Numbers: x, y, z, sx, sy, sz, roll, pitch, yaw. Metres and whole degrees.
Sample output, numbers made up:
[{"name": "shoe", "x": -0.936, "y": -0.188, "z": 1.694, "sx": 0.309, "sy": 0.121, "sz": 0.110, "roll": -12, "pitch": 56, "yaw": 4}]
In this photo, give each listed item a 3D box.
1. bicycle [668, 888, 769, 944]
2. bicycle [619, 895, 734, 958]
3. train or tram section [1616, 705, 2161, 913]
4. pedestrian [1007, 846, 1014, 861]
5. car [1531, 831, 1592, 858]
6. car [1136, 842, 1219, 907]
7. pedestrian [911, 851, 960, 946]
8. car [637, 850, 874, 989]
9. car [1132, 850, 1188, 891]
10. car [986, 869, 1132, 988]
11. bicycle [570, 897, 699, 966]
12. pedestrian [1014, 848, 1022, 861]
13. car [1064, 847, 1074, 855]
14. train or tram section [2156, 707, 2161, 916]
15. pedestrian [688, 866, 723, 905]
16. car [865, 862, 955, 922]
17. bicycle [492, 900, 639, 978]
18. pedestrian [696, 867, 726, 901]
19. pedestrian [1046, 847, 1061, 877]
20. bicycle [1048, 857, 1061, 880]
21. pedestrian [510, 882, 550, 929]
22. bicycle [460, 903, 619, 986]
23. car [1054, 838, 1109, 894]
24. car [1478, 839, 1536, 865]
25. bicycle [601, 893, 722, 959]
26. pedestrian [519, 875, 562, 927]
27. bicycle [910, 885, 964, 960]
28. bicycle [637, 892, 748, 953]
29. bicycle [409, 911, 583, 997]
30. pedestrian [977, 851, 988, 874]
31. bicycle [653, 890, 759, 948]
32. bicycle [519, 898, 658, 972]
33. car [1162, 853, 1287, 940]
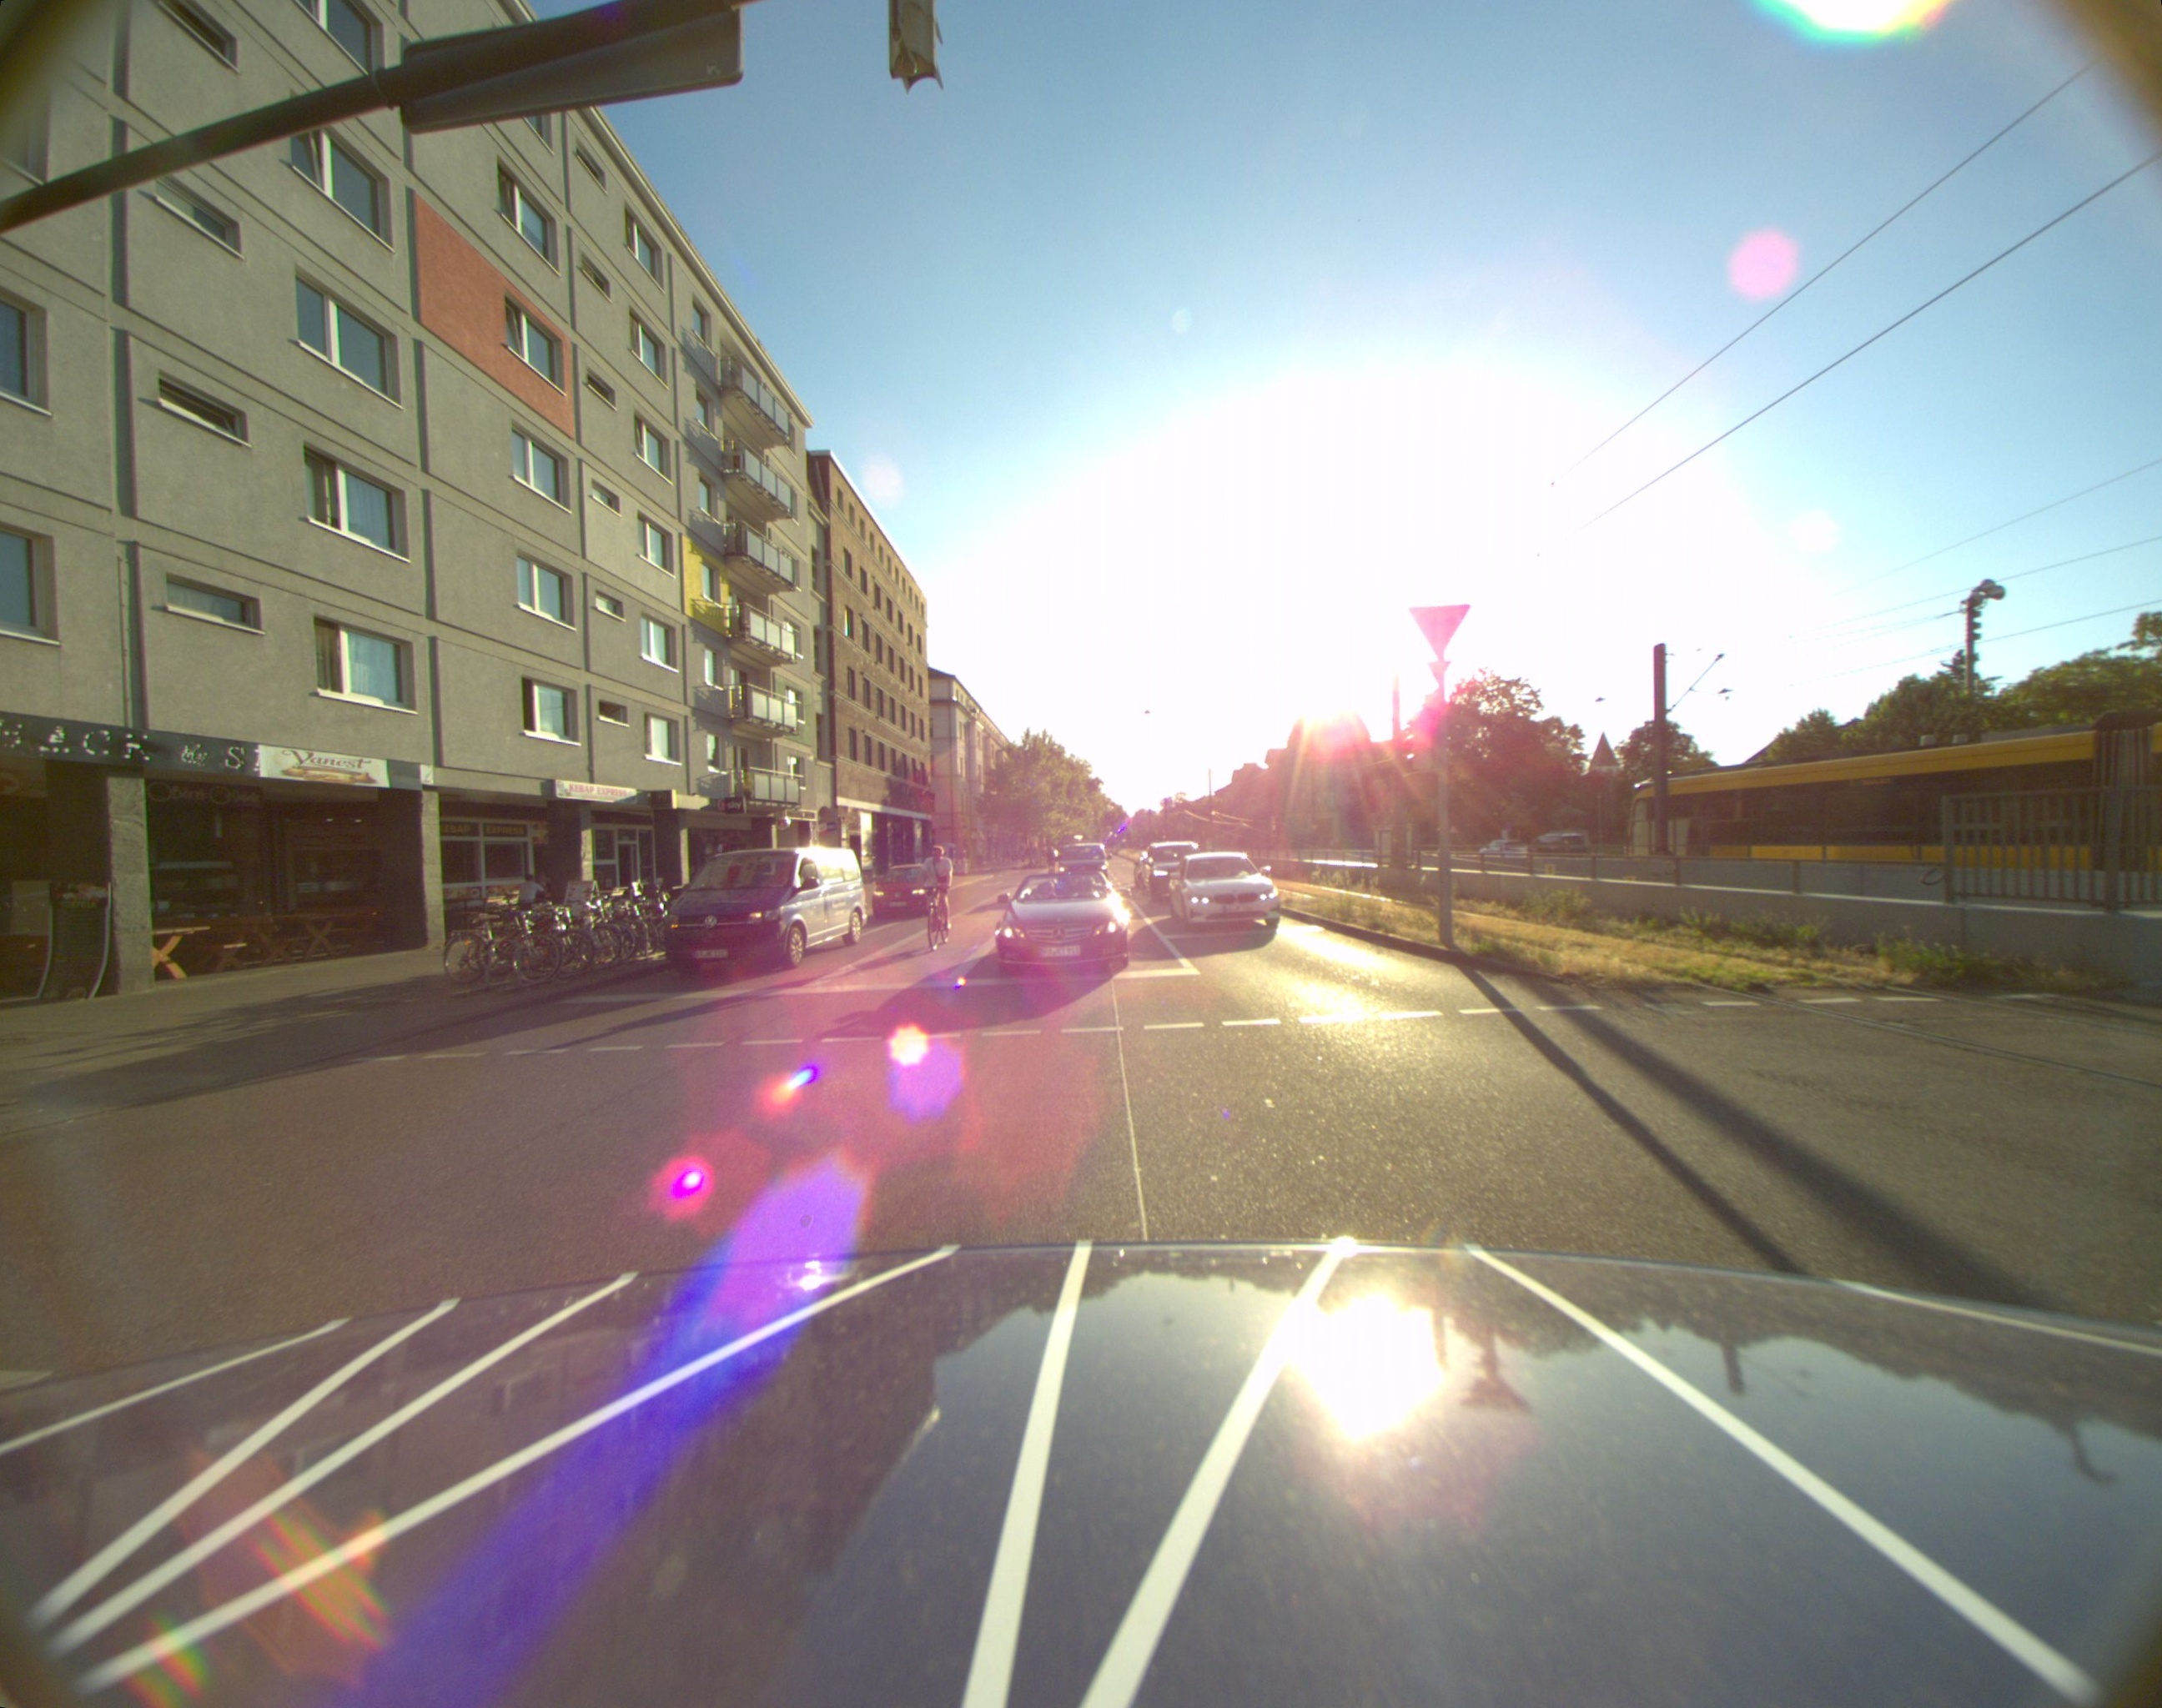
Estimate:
[{"name": "bicycle", "x": -7.681, "y": 1.302, "z": 16.142, "sx": 1.873, "sy": 1.119, "sz": 0.568, "roll": 1, "pitch": 1, "yaw": -2}, {"name": "bicycle", "x": -7.655, "y": 1.360, "z": 14.425, "sx": 1.873, "sy": 1.119, "sz": 0.568, "roll": 1, "pitch": 1, "yaw": -2}, {"name": "train or tram section", "x": 19.702, "y": -0.889, "z": 19.485, "sx": 2.780, "sy": 3.516, "sz": 13.250, "roll": -2, "pitch": 1, "yaw": 1}, {"name": "pedestrian", "x": -8.020, "y": -0.103, "z": 86.537, "sx": 0.728, "sy": 1.666, "sz": 0.924, "roll": -2, "pitch": 1, "yaw": 0}, {"name": "car", "x": 32.652, "y": -0.638, "z": 51.775, "sx": 1.714, "sy": 1.685, "sz": 4.090, "roll": -2, "pitch": 1, "yaw": 2}, {"name": "car", "x": 2.943, "y": 0.553, "z": 24.124, "sx": 1.956, "sy": 1.702, "sz": 4.850, "roll": -4, "pitch": 1, "yaw": 1}, {"name": "pedestrian", "x": -2.625, "y": 0.783, "z": 13.790, "sx": 0.640, "sy": 1.639, "sz": 0.843, "roll": -3, "pitch": 1, "yaw": 1}, {"name": "car", "x": -5.357, "y": 0.934, "z": 13.388, "sx": 1.941, "sy": 1.922, "sz": 4.832, "roll": -2, "pitch": 1, "yaw": 1}, {"name": "car", "x": 3.076, "y": 0.598, "z": 30.371, "sx": 1.815, "sy": 1.393, "sz": 3.919, "roll": -4, "pitch": 1, "yaw": 1}, {"name": "car", "x": -0.249, "y": 0.973, "z": 11.618, "sx": 1.776, "sy": 1.300, "sz": 4.240, "roll": -2, "pitch": 1, "yaw": 1}, {"name": "bicycle", "x": -7.708, "y": 1.335, "z": 13.167, "sx": 1.873, "sy": 1.119, "sz": 0.568, "roll": 1, "pitch": 1, "yaw": -2}, {"name": "pedestrian", "x": -7.175, "y": 0.031, "z": 86.173, "sx": 0.728, "sy": 1.431, "sz": 0.924, "roll": -2, "pitch": 1, "yaw": 0}, {"name": "car", "x": -2.274, "y": -0.549, "z": 149.075, "sx": 1.774, "sy": 1.474, "sz": 4.309, "roll": -2, "pitch": 1, "yaw": 2}, {"name": "train or tram section", "x": 19.462, "y": -0.655, "z": 6.211, "sx": 2.780, "sy": 3.516, "sz": 13.250, "roll": -2, "pitch": 1, "yaw": 1}, {"name": "pedestrian", "x": -13.277, "y": 1.109, "z": 26.871, "sx": 0.646, "sy": 1.287, "sz": 0.954, "roll": -2, "pitch": 1, "yaw": 4}, {"name": "car", "x": -5.000, "y": 1.064, "z": 22.660, "sx": 1.687, "sy": 1.472, "sz": 3.539, "roll": -3, "pitch": 1, "yaw": 2}, {"name": "bicycle", "x": -7.977, "y": 1.310, "z": 11.801, "sx": 1.873, "sy": 1.119, "sz": 0.568, "roll": 1, "pitch": 1, "yaw": -2}, {"name": "pedestrian", "x": -13.779, "y": 1.119, "z": 28.322, "sx": 0.727, "sy": 1.224, "sz": 0.647, "roll": -2, "pitch": 1, "yaw": 3}, {"name": "pedestrian", "x": -1.525, "y": 0.441, "z": 41.886, "sx": 0.678, "sy": 1.639, "sz": 0.901, "roll": -3, "pitch": 1, "yaw": 3}, {"name": "bicycle", "x": -1.463, "y": 0.791, "z": 41.898, "sx": 0.530, "sy": 1.152, "sz": 1.849, "roll": -3, "pitch": 1, "yaw": 3}, {"name": "pedestrian", "x": -13.766, "y": 1.284, "z": 19.007, "sx": 0.647, "sy": 1.093, "sz": 0.544, "roll": -2, "pitch": 1, "yaw": -20}, {"name": "bicycle", "x": -7.952, "y": 1.324, "z": 11.208, "sx": 1.873, "sy": 1.119, "sz": 0.607, "roll": 1, "pitch": 1, "yaw": -2}, {"name": "car", "x": 0.051, "y": 0.412, "z": 30.040, "sx": 1.920, "sy": 1.978, "sz": 4.946, "roll": -2, "pitch": 1, "yaw": 1}, {"name": "car", "x": 27.455, "y": -0.158, "z": 49.092, "sx": 1.714, "sy": 1.531, "sz": 3.673, "roll": -2, "pitch": 1, "yaw": 2}, {"name": "bicycle", "x": -7.622, "y": 1.300, "z": 13.842, "sx": 1.873, "sy": 1.119, "sz": 0.568, "roll": 1, "pitch": 1, "yaw": -2}, {"name": "pedestrian", "x": -14.052, "y": 1.204, "z": 19.763, "sx": 0.858, "sy": 1.266, "sz": 0.648, "roll": -1, "pitch": 2, "yaw": 39}, {"name": "bicycle", "x": -2.594, "y": 1.209, "z": 13.879, "sx": 0.530, "sy": 1.152, "sz": 1.849, "roll": -3, "pitch": 1, "yaw": 1}, {"name": "bicycle", "x": -7.642, "y": 1.348, "z": 14.997, "sx": 1.873, "sy": 1.119, "sz": 0.568, "roll": 1, "pitch": 1, "yaw": -2}, {"name": "bicycle", "x": -8.038, "y": 1.367, "z": 10.496, "sx": 1.872, "sy": 1.055, "sz": 0.607, "roll": -2, "pitch": 1, "yaw": -1}, {"name": "pedestrian", "x": -7.153, "y": 0.623, "z": 55.029, "sx": 0.603, "sy": 1.587, "sz": 0.884, "roll": -2, "pitch": 1, "yaw": 1}, {"name": "bicycle", "x": -7.662, "y": 1.330, "z": 15.572, "sx": 1.873, "sy": 1.119, "sz": 0.568, "roll": 1, "pitch": 1, "yaw": -2}, {"name": "bicycle", "x": -7.996, "y": 1.305, "z": 12.390, "sx": 1.873, "sy": 1.119, "sz": 0.568, "roll": 1, "pitch": 1, "yaw": -2}, {"name": "car", "x": 2.857, "y": 0.780, "z": 16.160, "sx": 1.842, "sy": 1.393, "sz": 4.584, "roll": -4, "pitch": 1, "yaw": 2}]
